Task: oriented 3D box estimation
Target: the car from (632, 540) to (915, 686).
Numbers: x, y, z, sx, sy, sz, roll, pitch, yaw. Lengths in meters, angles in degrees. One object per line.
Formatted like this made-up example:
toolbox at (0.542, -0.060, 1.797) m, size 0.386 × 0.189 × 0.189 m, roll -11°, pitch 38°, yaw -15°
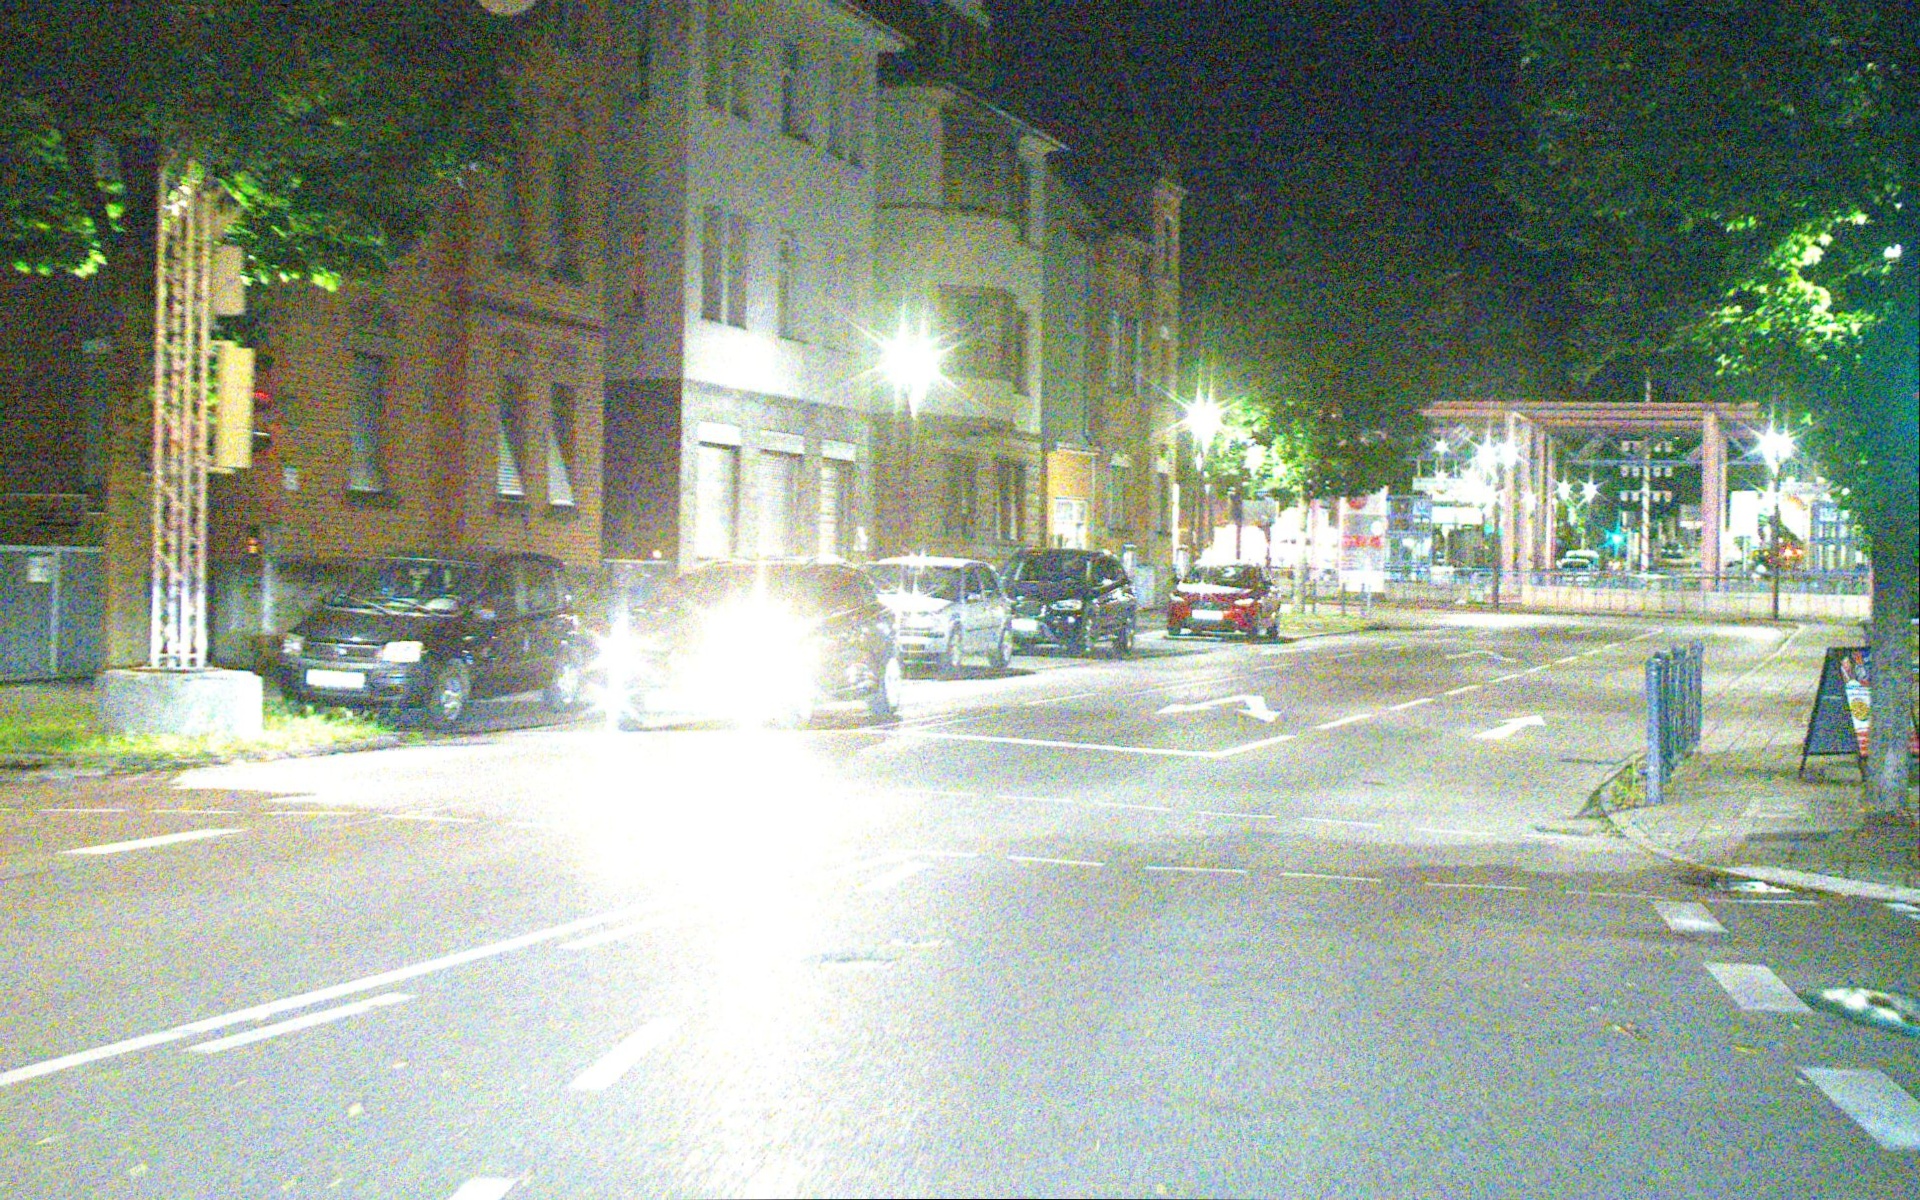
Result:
car at (-2.093, 0.116, 39.828) m, size 1.786 × 1.486 × 4.326 m, roll 4°, pitch 2°, yaw 17°

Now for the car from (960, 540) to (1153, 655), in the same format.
car at (1.536, -0.064, 52.959) m, size 1.786 × 1.576 × 4.408 m, roll 4°, pitch 2°, yaw 17°

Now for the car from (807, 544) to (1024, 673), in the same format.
car at (-0.524, 0.072, 44.957) m, size 1.786 × 1.486 × 3.997 m, roll 4°, pitch 2°, yaw 14°

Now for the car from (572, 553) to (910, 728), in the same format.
car at (-1.836, 0.310, 30.166) m, size 1.716 × 1.425 × 3.997 m, roll 0°, pitch 1°, yaw 16°

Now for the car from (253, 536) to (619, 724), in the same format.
car at (-4.637, 0.236, 30.928) m, size 1.594 × 1.486 × 3.695 m, roll 4°, pitch 2°, yaw 20°

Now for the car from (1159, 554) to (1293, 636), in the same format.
car at (5.062, -0.116, 64.943) m, size 1.786 × 1.411 × 4.124 m, roll 3°, pitch 2°, yaw 14°

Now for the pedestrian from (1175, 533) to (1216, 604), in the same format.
pedestrian at (6.182, -0.824, 90.261) m, size 0.723 × 1.815 × 0.692 m, roll 3°, pitch 0°, yaw -31°
